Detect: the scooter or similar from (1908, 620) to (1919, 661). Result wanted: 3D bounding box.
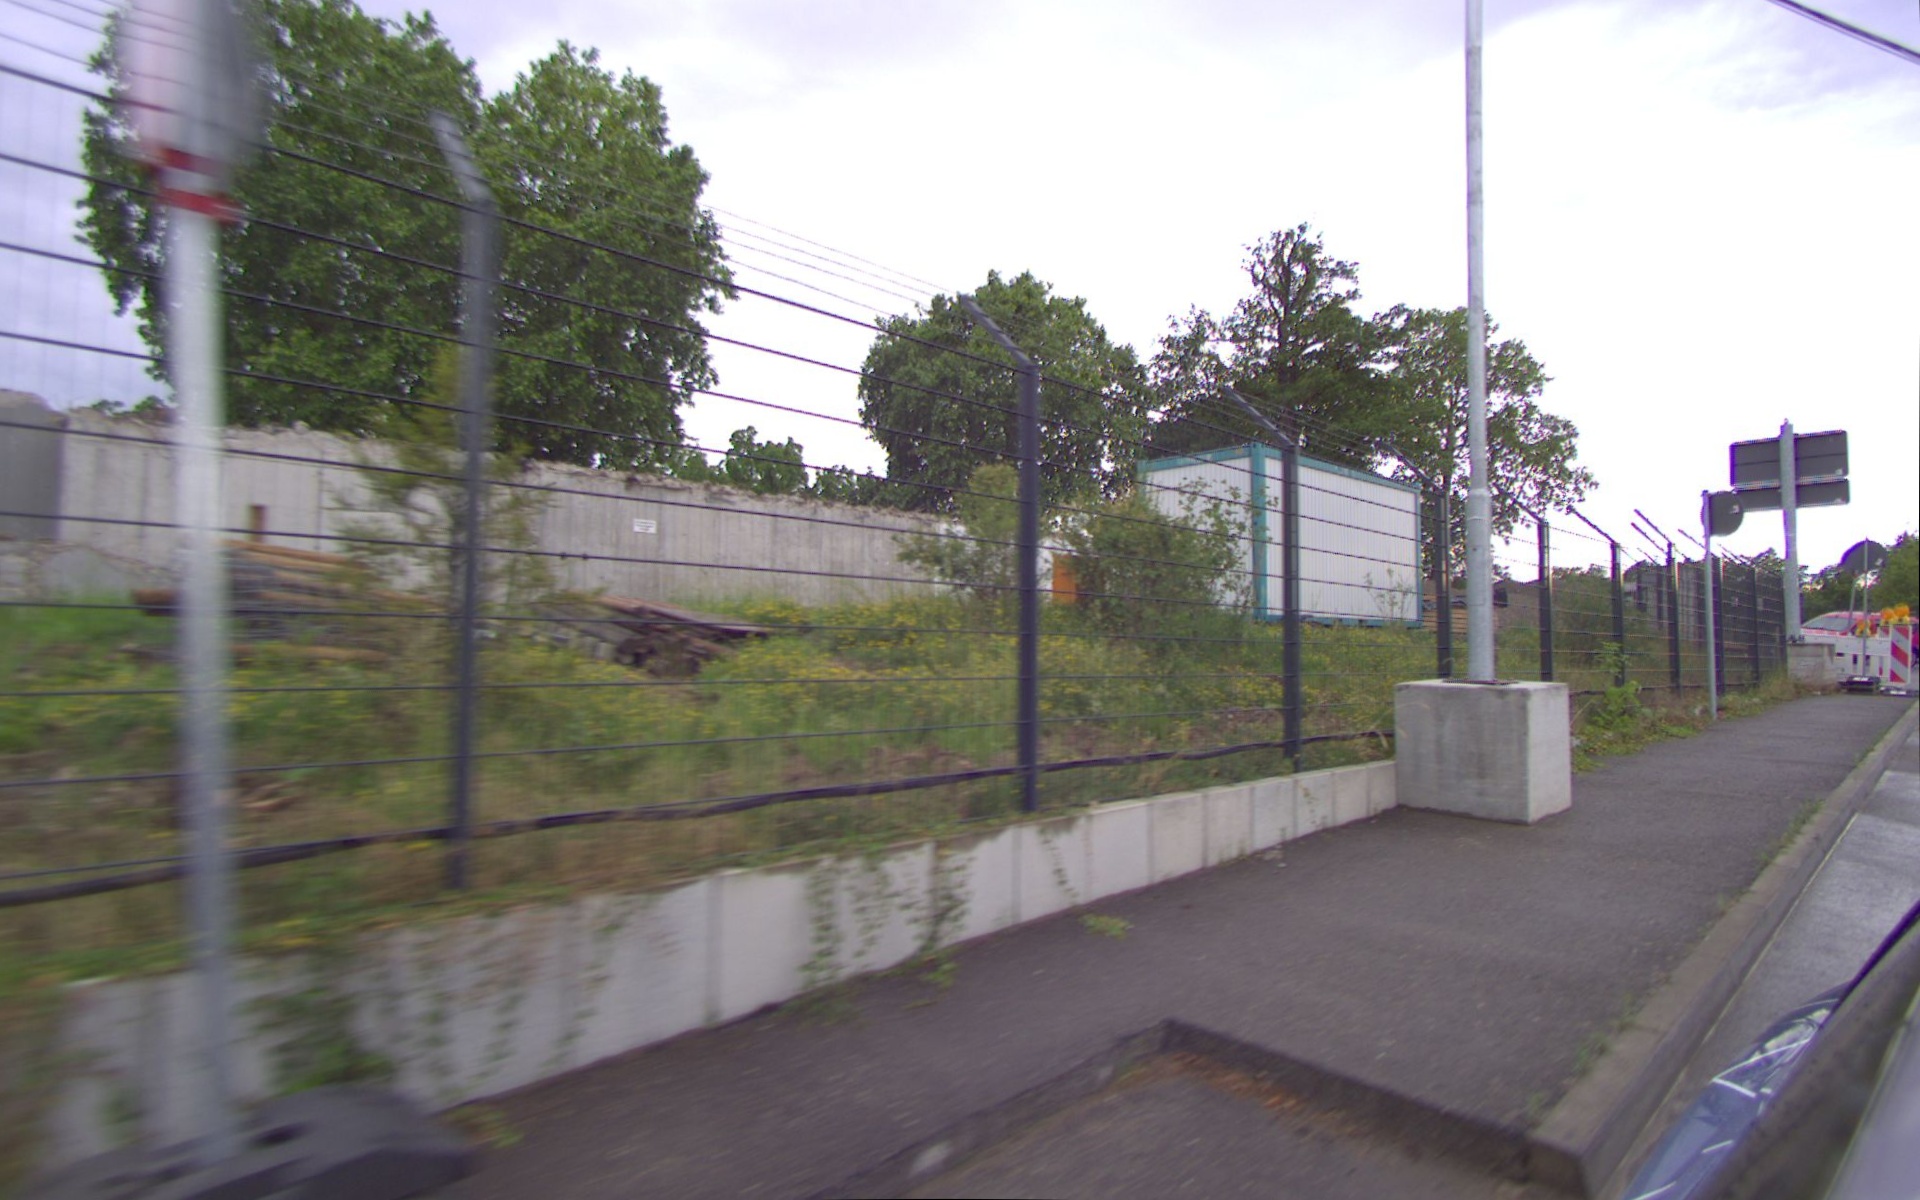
[{"bbox_3d":[32.788,1.349,34.236,1.875,1.369,0.617,1,-2,-34],"label":"scooter or similar"}]

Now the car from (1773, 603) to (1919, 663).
[{"bbox_3d":[28.494,1.032,32.021,4.318,1.817,1.828,0,-1,-9],"label":"car"}]
